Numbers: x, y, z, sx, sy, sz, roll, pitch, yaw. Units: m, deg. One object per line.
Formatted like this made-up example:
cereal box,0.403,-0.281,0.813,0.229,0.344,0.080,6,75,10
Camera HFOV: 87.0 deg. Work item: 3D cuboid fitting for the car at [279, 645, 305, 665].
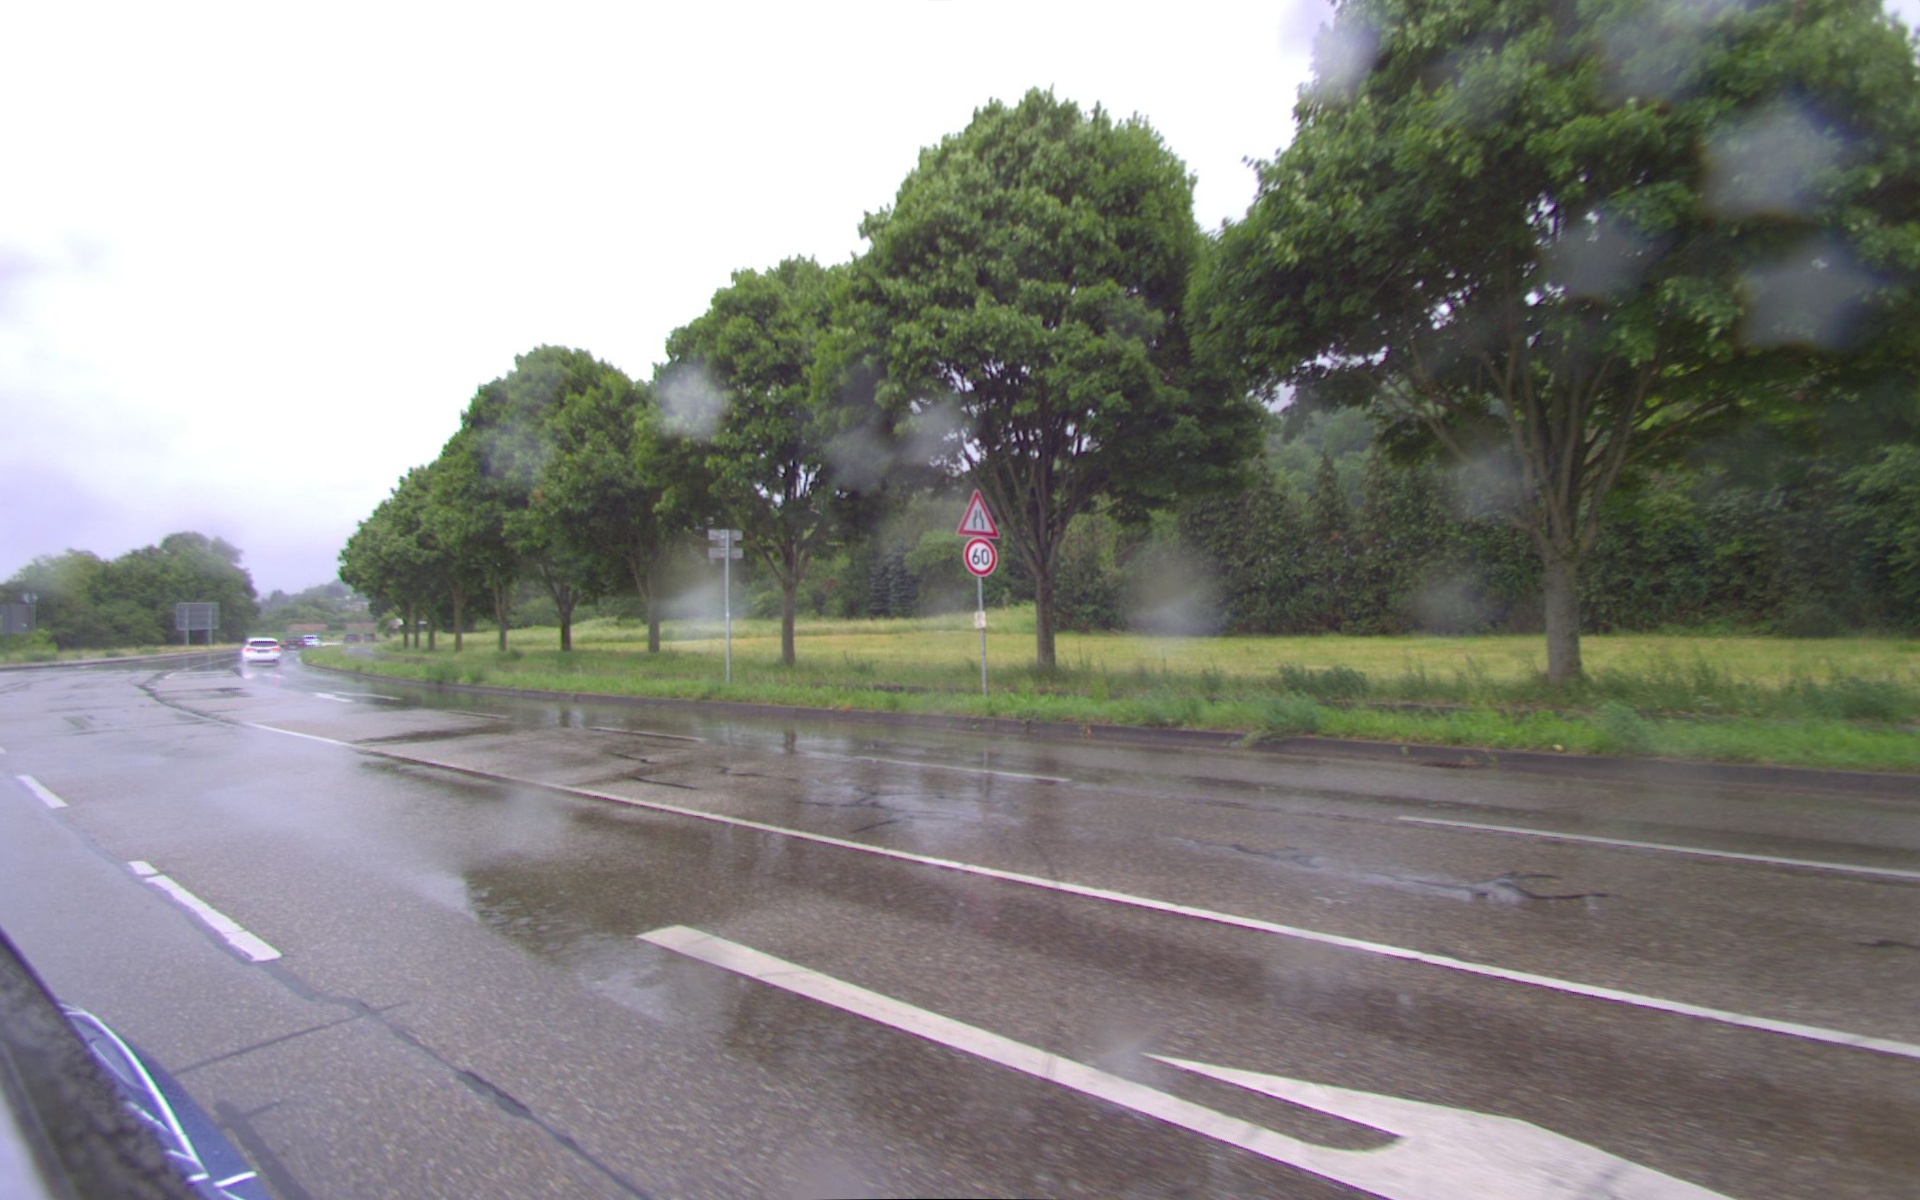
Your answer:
car,-61.032,4.967,92.506,1.858,1.599,4.130,-3,0,-32

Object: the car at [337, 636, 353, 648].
car,-92.259,6.221,151.824,1.898,1.756,4.300,1,-2,-32

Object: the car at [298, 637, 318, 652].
car,-68.490,4.650,106.315,1.715,1.498,4.022,1,-2,-33

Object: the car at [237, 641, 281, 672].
car,-38.067,3.041,54.939,1.854,1.585,4.656,1,-2,-35
